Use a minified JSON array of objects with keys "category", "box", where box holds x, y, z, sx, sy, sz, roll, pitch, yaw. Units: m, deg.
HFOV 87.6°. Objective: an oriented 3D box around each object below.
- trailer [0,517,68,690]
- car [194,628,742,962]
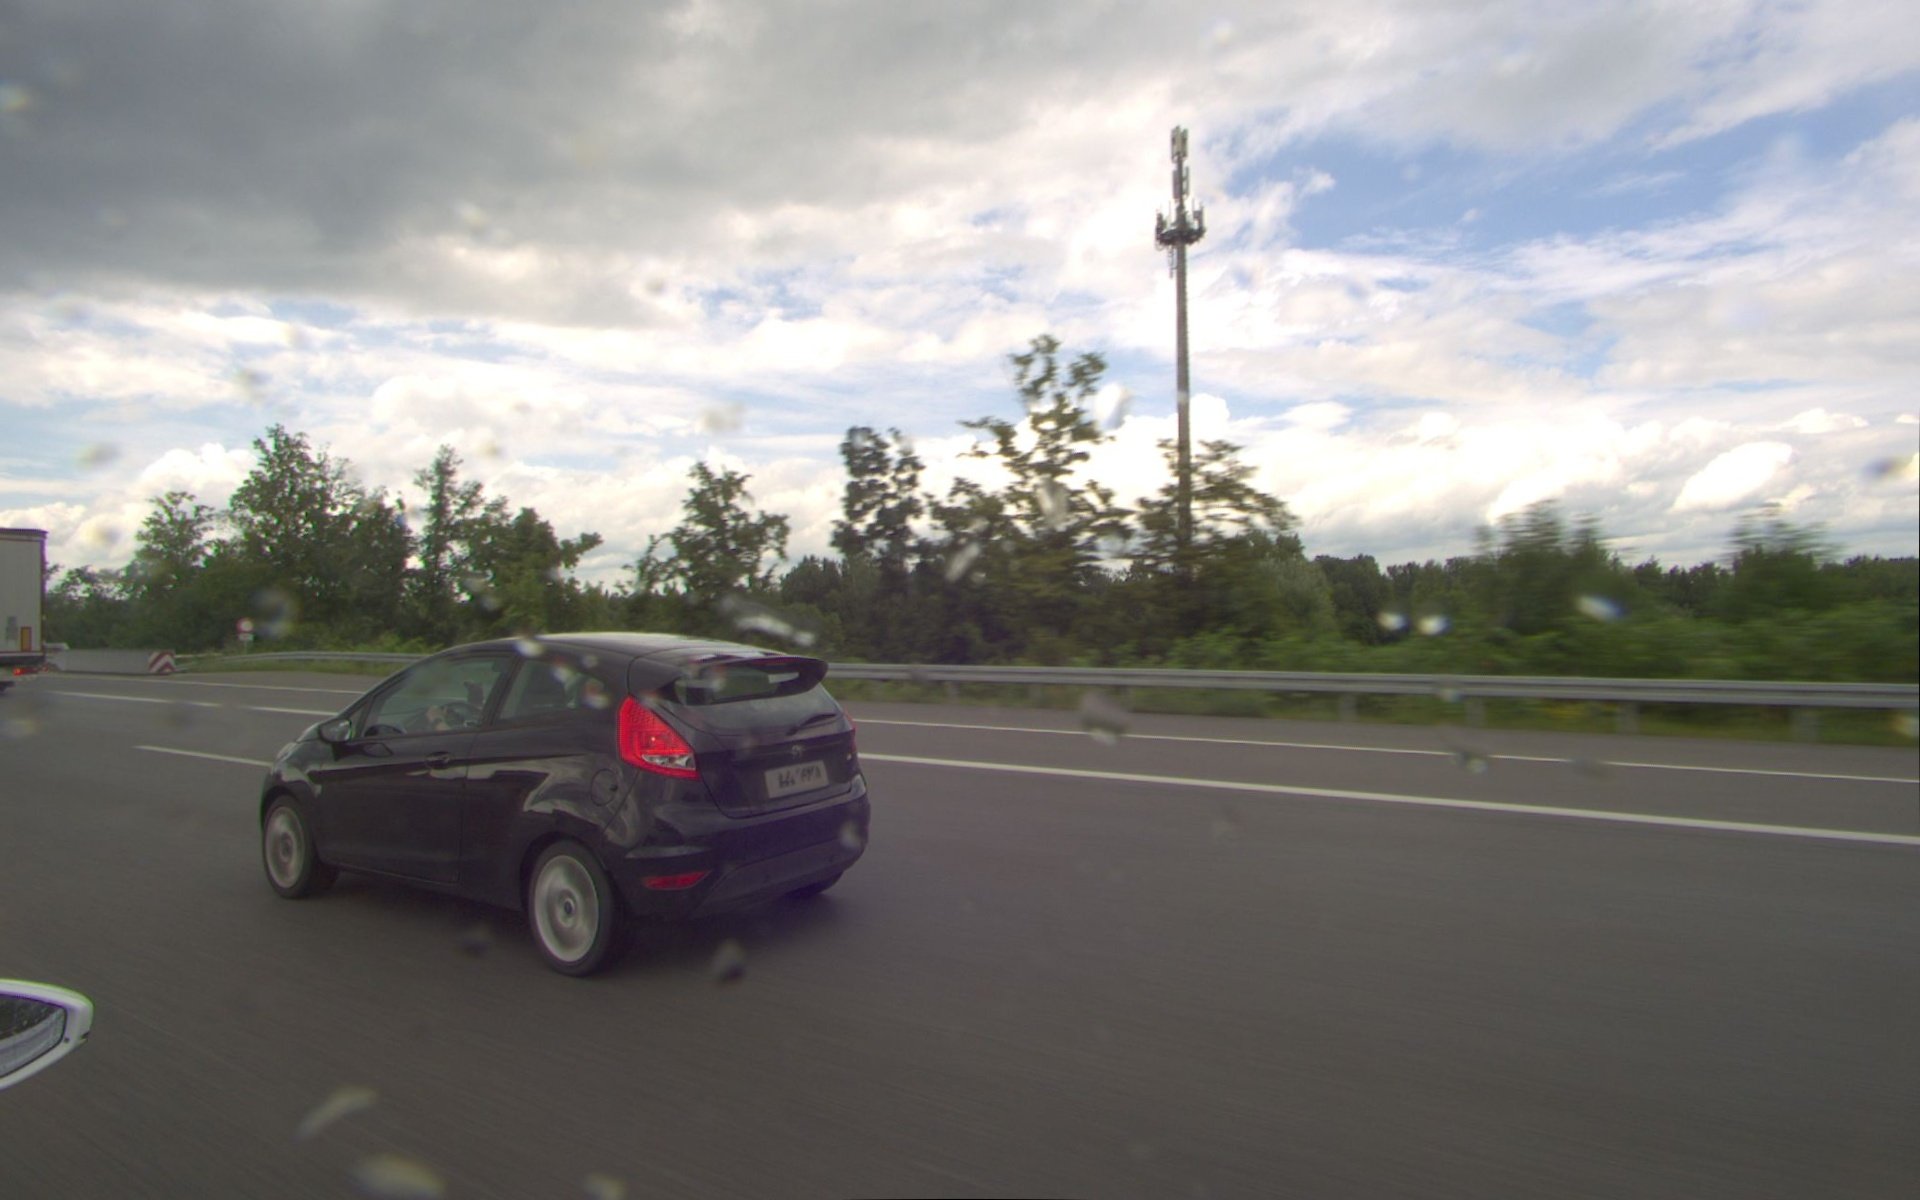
[{"category":"trailer","box":[-28.619,0.167,27.295,13.920,4.072,2.955,-1,-1,33]},{"category":"car","box":[-2.927,0.902,5.849,3.118,1.460,1.445,-1,-1,32]}]
